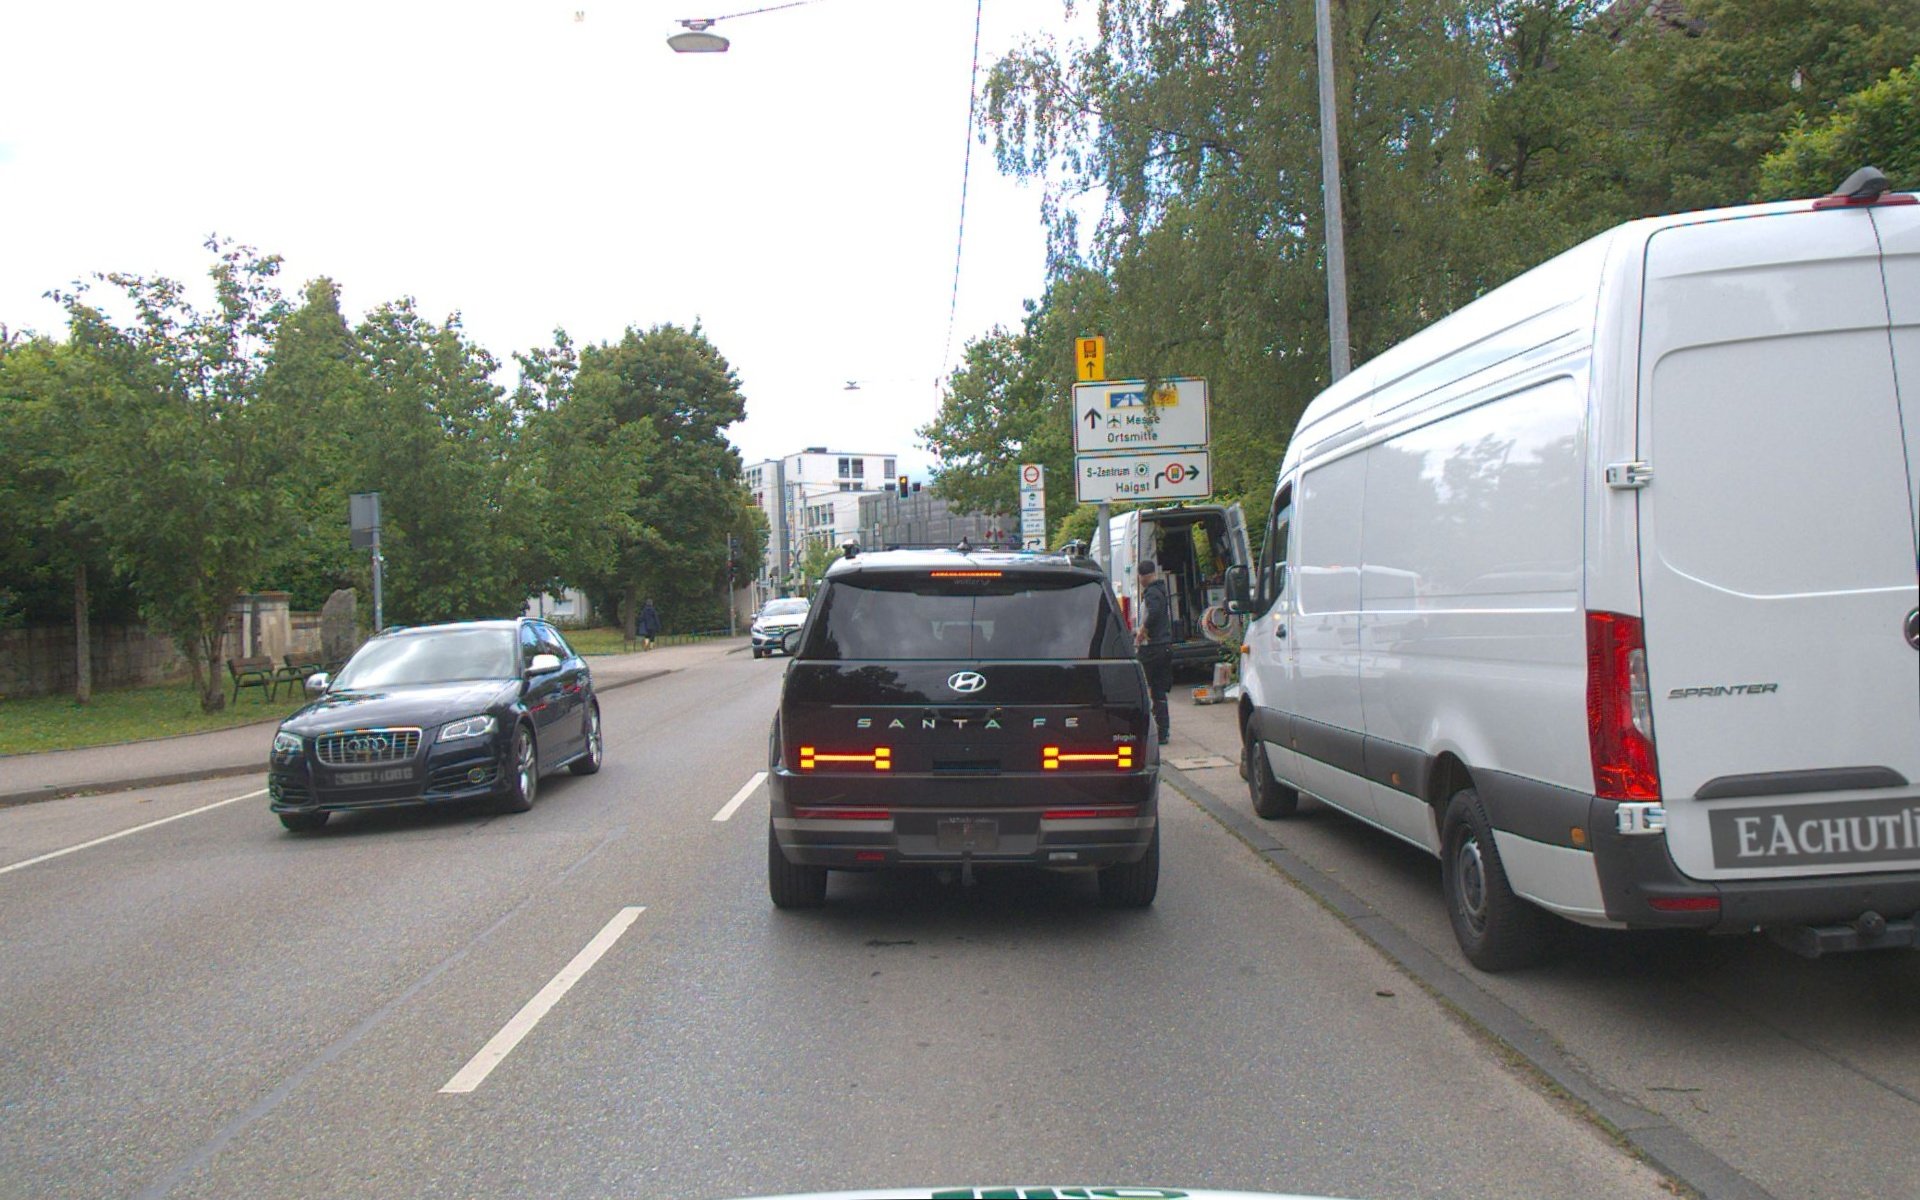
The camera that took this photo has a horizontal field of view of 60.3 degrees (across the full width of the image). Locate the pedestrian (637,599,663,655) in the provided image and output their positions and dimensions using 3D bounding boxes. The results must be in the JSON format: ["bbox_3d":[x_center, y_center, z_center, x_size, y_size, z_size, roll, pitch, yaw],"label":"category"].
[{"bbox_3d":[-9.873,0.844,52.698,0.724,1.745,0.791,-2,0,-8],"label":"pedestrian"}]

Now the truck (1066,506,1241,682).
[{"bbox_3d":[3.147,-0.082,28.065,1.904,2.606,5.211,-3,0,-4],"label":"truck"}]

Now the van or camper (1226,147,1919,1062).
[{"bbox_3d":[2.897,-0.017,8.150,1.953,2.665,6.540,-2,0,-1],"label":"van or camper"}]

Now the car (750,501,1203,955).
[{"bbox_3d":[0.041,0.516,8.785,1.851,1.851,3.999,0,0,-1],"label":"car"}]

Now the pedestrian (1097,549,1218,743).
[{"bbox_3d":[1.936,0.435,16.185,0.857,1.828,0.755,-2,0,42],"label":"pedestrian"}]

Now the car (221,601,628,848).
[{"bbox_3d":[-3.960,0.825,13.016,1.822,1.478,4.110,-4,0,-1],"label":"car"}]

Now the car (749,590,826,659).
[{"bbox_3d":[-4.761,0.648,46.107,1.749,1.682,4.118,-4,0,-2],"label":"car"}]

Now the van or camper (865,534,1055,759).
[{"bbox_3d":[-0.027,0.428,17.454,1.719,2.049,3.999,-2,0,-1],"label":"van or camper"}]
